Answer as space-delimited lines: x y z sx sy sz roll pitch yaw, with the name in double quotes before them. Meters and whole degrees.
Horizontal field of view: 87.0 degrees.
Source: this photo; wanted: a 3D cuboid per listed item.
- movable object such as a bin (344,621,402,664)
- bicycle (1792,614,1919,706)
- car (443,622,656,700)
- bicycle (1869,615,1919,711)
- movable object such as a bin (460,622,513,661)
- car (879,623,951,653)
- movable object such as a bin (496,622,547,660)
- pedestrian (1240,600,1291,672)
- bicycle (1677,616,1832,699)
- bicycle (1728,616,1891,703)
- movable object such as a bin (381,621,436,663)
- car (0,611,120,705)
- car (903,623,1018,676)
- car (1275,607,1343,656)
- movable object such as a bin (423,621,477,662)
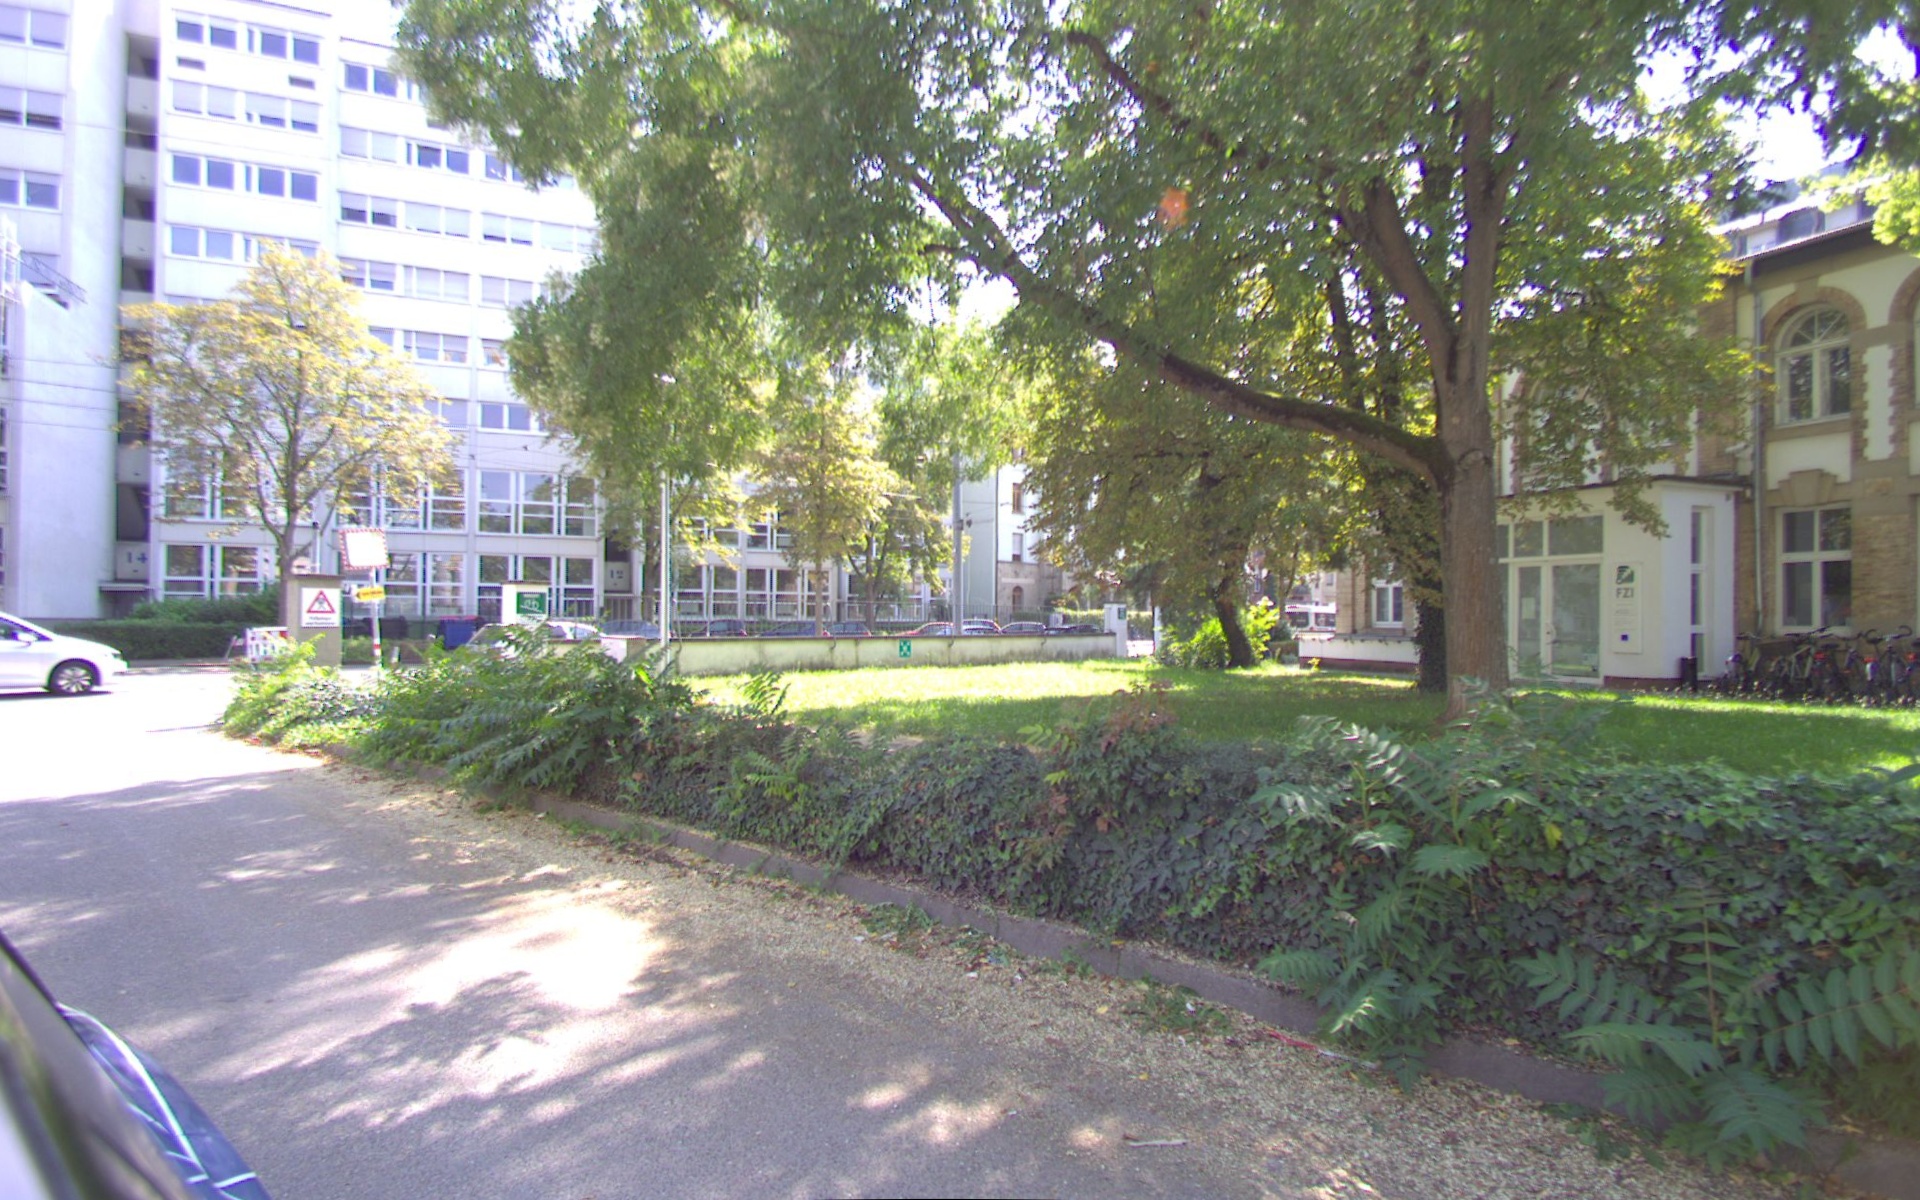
"movable object such as a bin" -21.818 1.571 37.605 1.686 1.571 1.336 -2 -2 39
"bicycle" 13.767 0.892 15.186 2.483 1.312 0.774 1 -1 -19
"car" -8.417 1.218 20.962 1.797 1.457 3.680 -3 -3 43
"bicycle" 14.190 0.888 14.374 2.483 1.312 0.774 1 -1 -19
"movable object such as a bin" -19.337 1.674 41.325 1.686 1.571 1.336 -2 -2 39
"car" -2.312 1.970 52.382 3.619 1.463 1.677 1 -1 0
"movable object such as a bin" -18.385 1.704 42.427 1.686 1.571 1.336 -2 -2 39
"pedestrian" 7.920 0.927 26.299 0.723 1.842 1.134 1 -2 -19
"bicycle" 13.174 0.939 16.777 2.483 1.312 0.774 1 -1 -19
"bicycle" 13.347 0.921 15.893 2.483 1.312 0.774 1 -1 -19
"movable object such as a bin" -21.250 1.610 38.988 1.686 1.571 1.336 -2 -2 39
"car" -17.650 0.979 17.587 1.996 1.572 4.309 1 -1 36
"car" 0.063 1.513 31.337 1.645 1.523 3.591 0 -2 40
"car" 18.017 1.598 52.161 1.999 2.383 3.946 0 -1 41
"movable object such as a bin" -20.187 1.635 40.031 1.686 1.571 1.336 -2 -2 39
